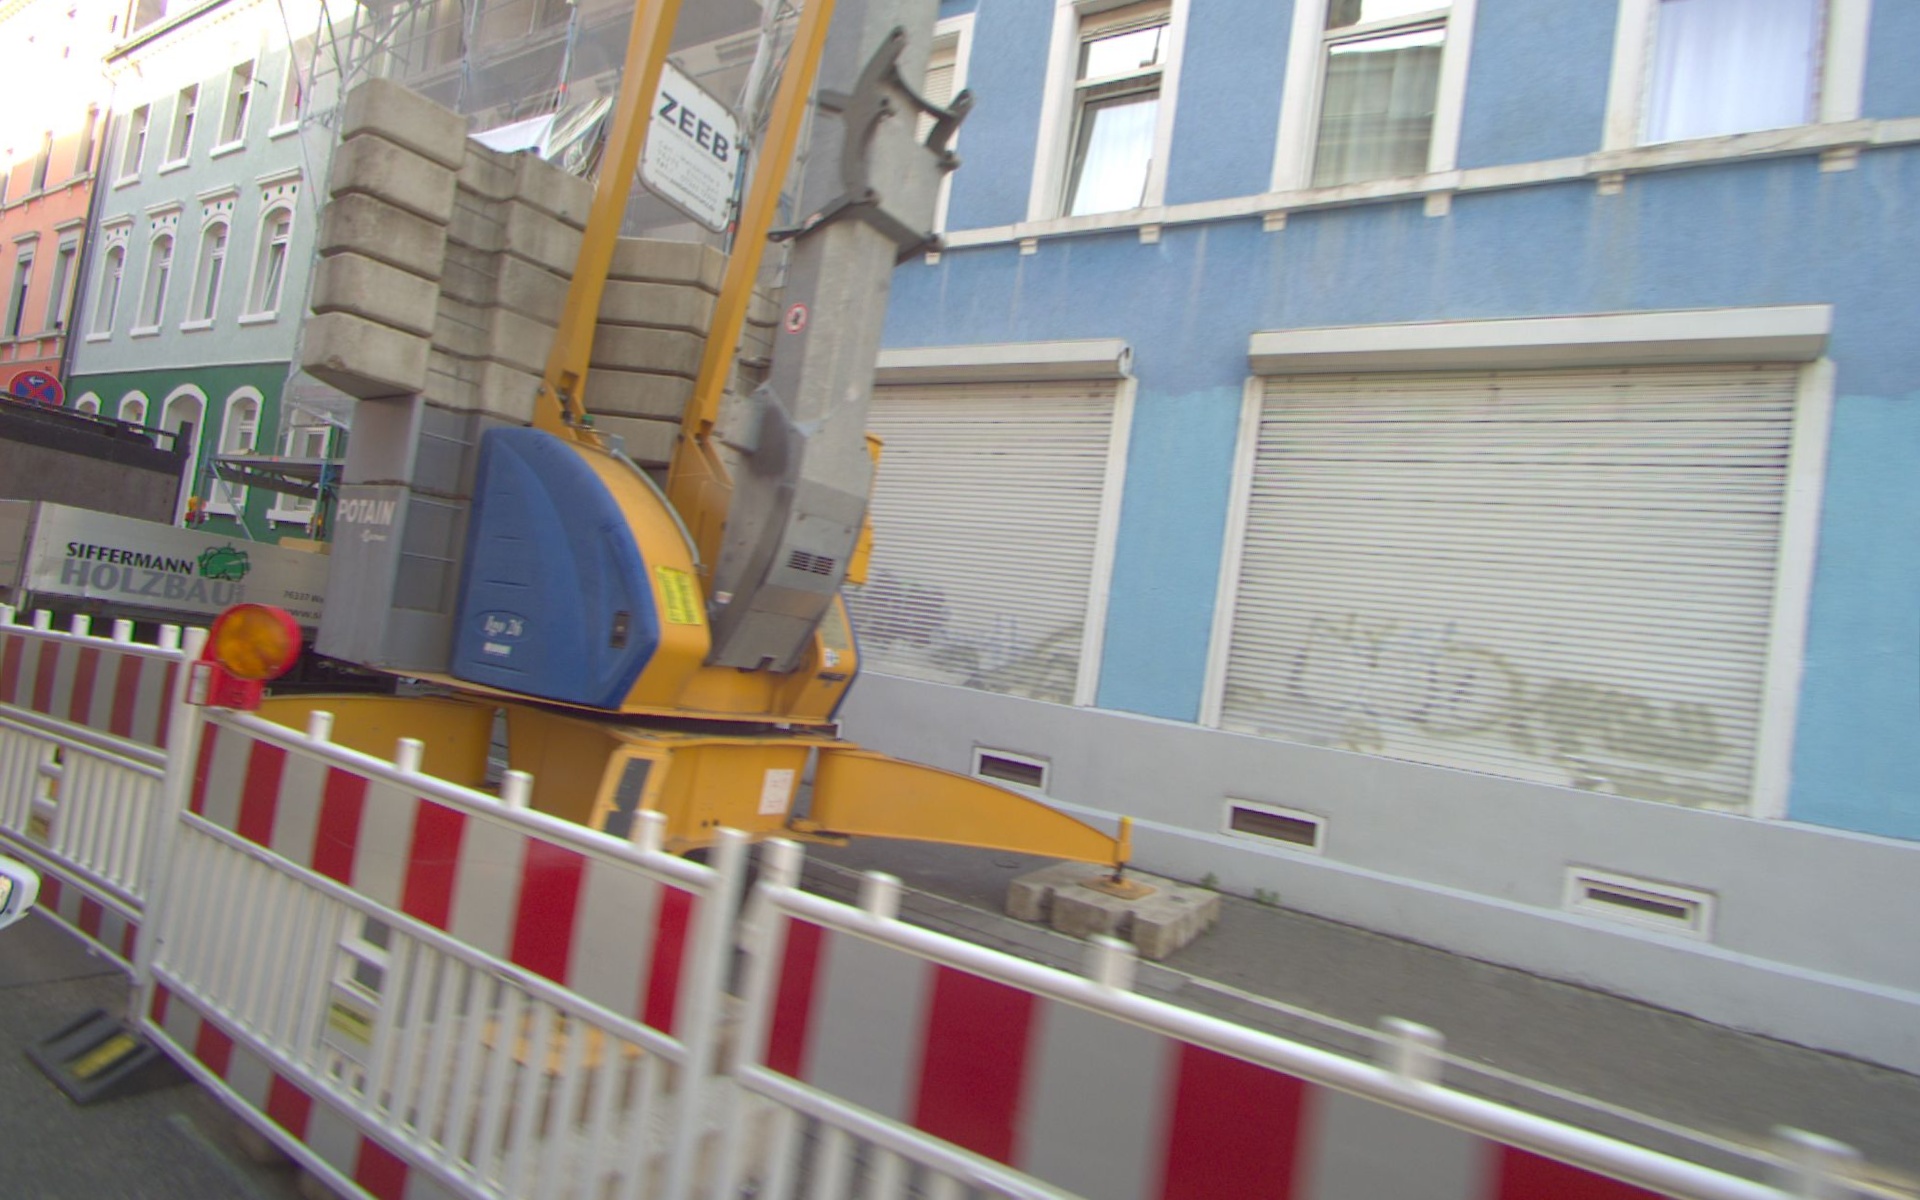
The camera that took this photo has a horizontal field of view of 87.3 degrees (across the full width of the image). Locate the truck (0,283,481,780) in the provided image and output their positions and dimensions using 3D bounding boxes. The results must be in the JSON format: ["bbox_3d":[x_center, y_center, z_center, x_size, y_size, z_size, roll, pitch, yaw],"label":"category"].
[{"bbox_3d":[-7.752,-0.516,8.782,7.273,2.842,2.670,6,-5,33],"label":"truck"}]
